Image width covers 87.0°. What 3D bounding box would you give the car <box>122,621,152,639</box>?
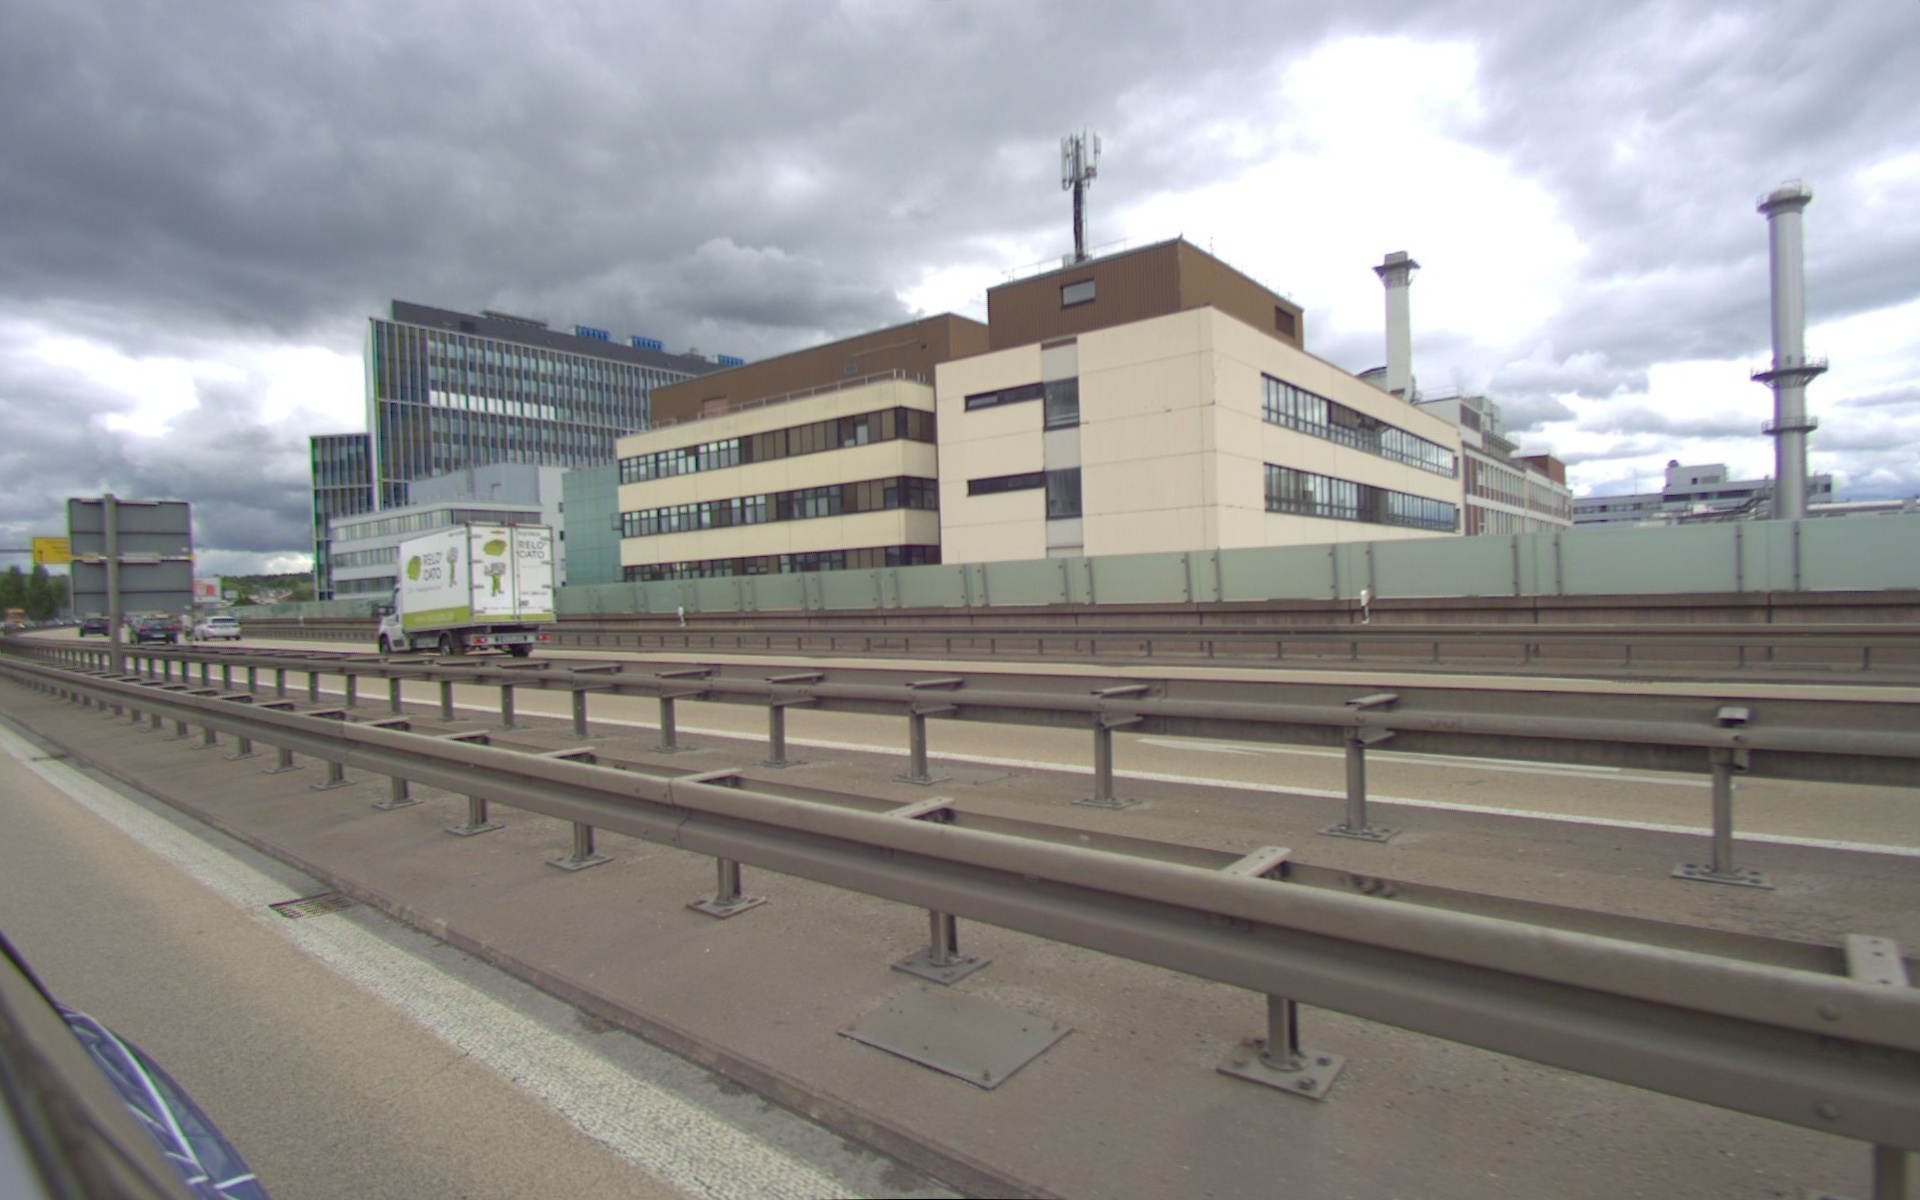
[{"bbox_3d":[-75.920,2.733,93.366,3.685,1.609,1.664,-2,-1,43],"label":"car"}]

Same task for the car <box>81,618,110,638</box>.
[{"bbox_3d":[-73.251,2.368,85.706,1.733,1.631,4.820,0,-1,-42],"label":"car"}]

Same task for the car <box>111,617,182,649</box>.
[{"bbox_3d":[-43.130,1.750,53.600,4.809,1.623,2.002,-2,-1,39],"label":"car"}]

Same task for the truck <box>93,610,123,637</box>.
[{"bbox_3d":[-130.310,3.565,154.836,3.221,3.887,13.073,-2,0,-40],"label":"truck"}]

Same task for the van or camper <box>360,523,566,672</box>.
[{"bbox_3d":[-13.157,-0.026,26.477,6.952,3.413,2.379,-1,0,42],"label":"van or camper"}]

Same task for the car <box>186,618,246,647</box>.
[{"bbox_3d":[-43.876,1.912,59.642,4.812,1.623,1.897,-2,-1,42],"label":"car"}]
